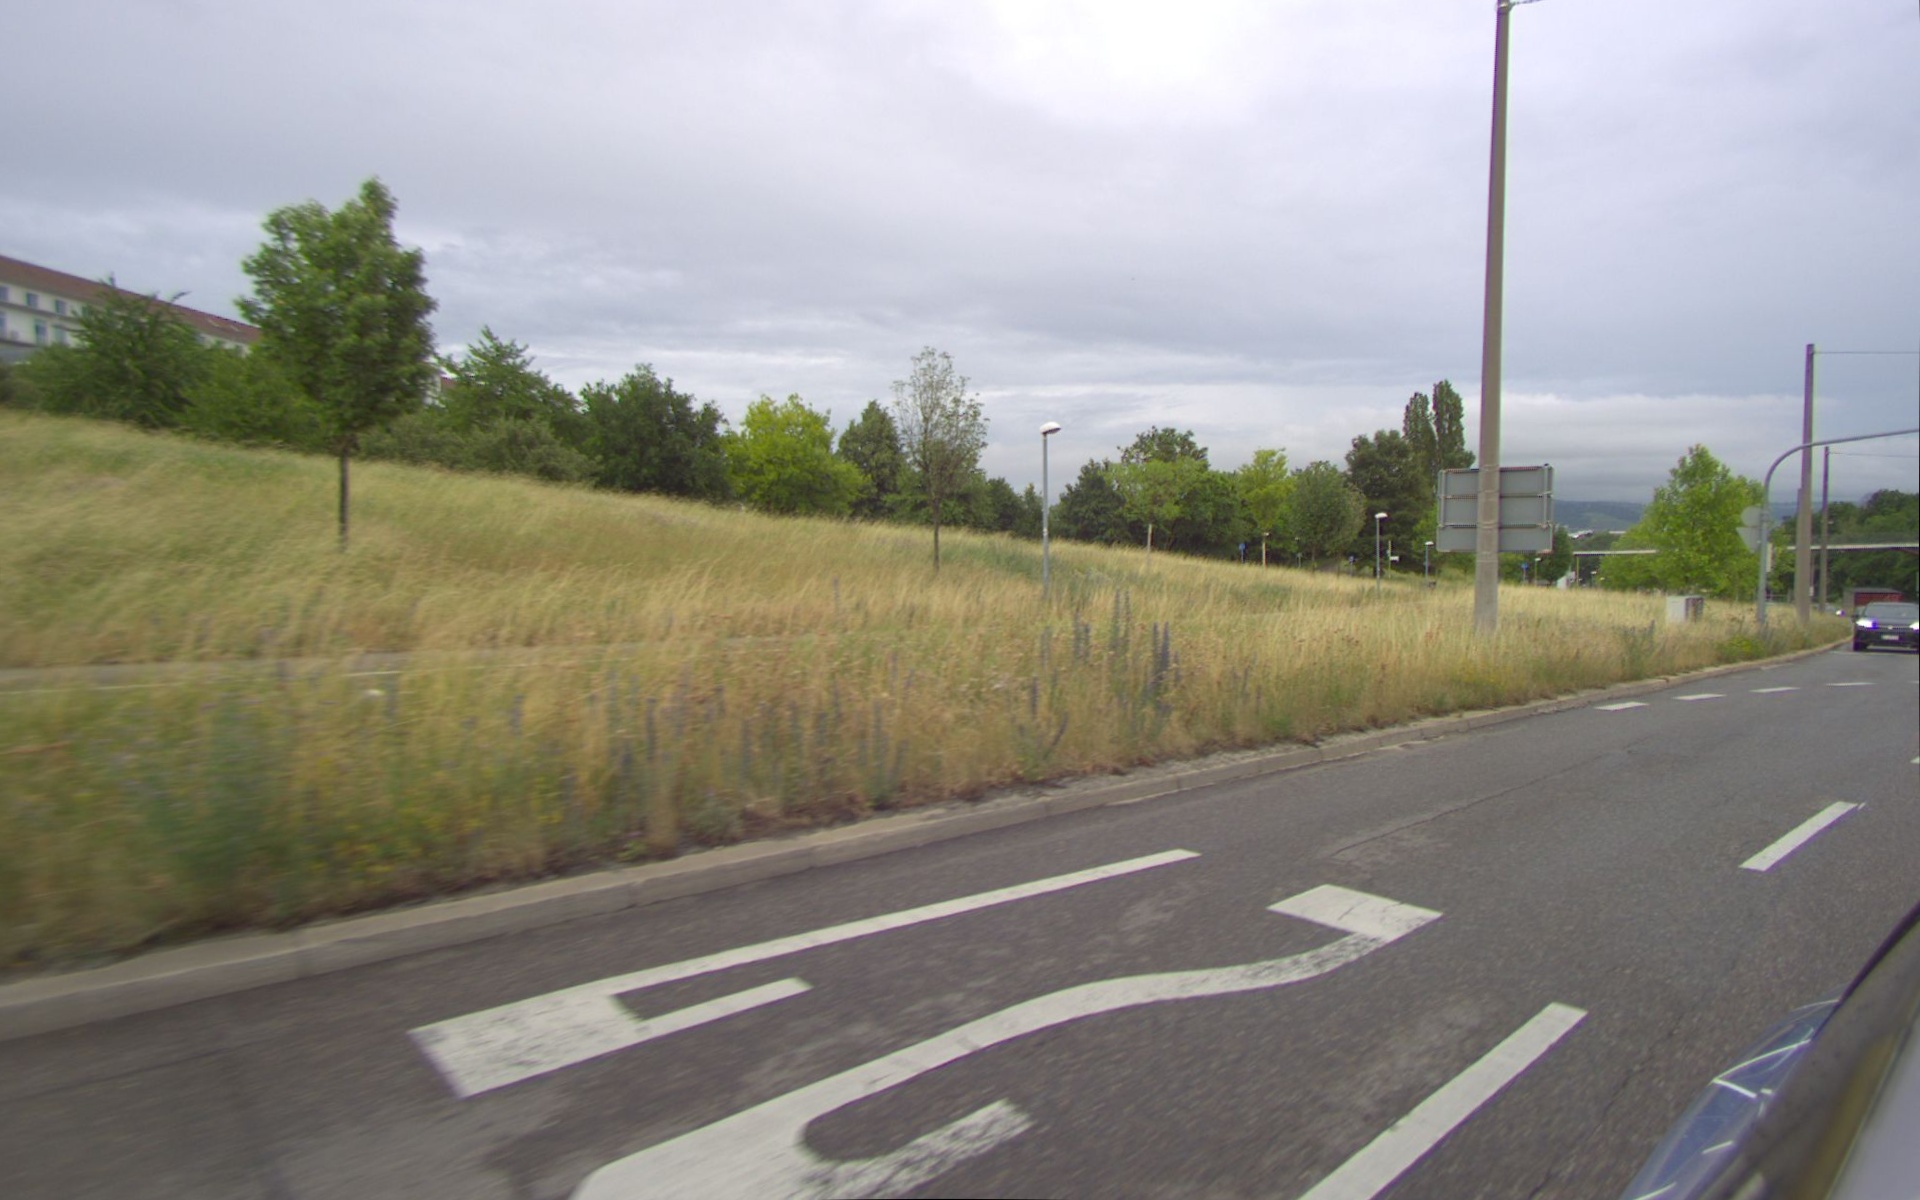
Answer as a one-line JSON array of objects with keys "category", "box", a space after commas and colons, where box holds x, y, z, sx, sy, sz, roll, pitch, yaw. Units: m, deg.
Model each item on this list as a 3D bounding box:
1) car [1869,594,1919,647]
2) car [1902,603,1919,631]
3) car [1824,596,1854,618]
[{"category": "car", "box": [31.508, 0.634, 33.689, 1.715, 1.663, 3.826, 0, 0, 44]}, {"category": "car", "box": [71.683, 1.264, 75.239, 1.826, 1.972, 3.951, 1, 1, 34]}, {"category": "car", "box": [89.478, 0.687, 103.076, 1.989, 2.038, 3.947, 2, 2, 37]}]
